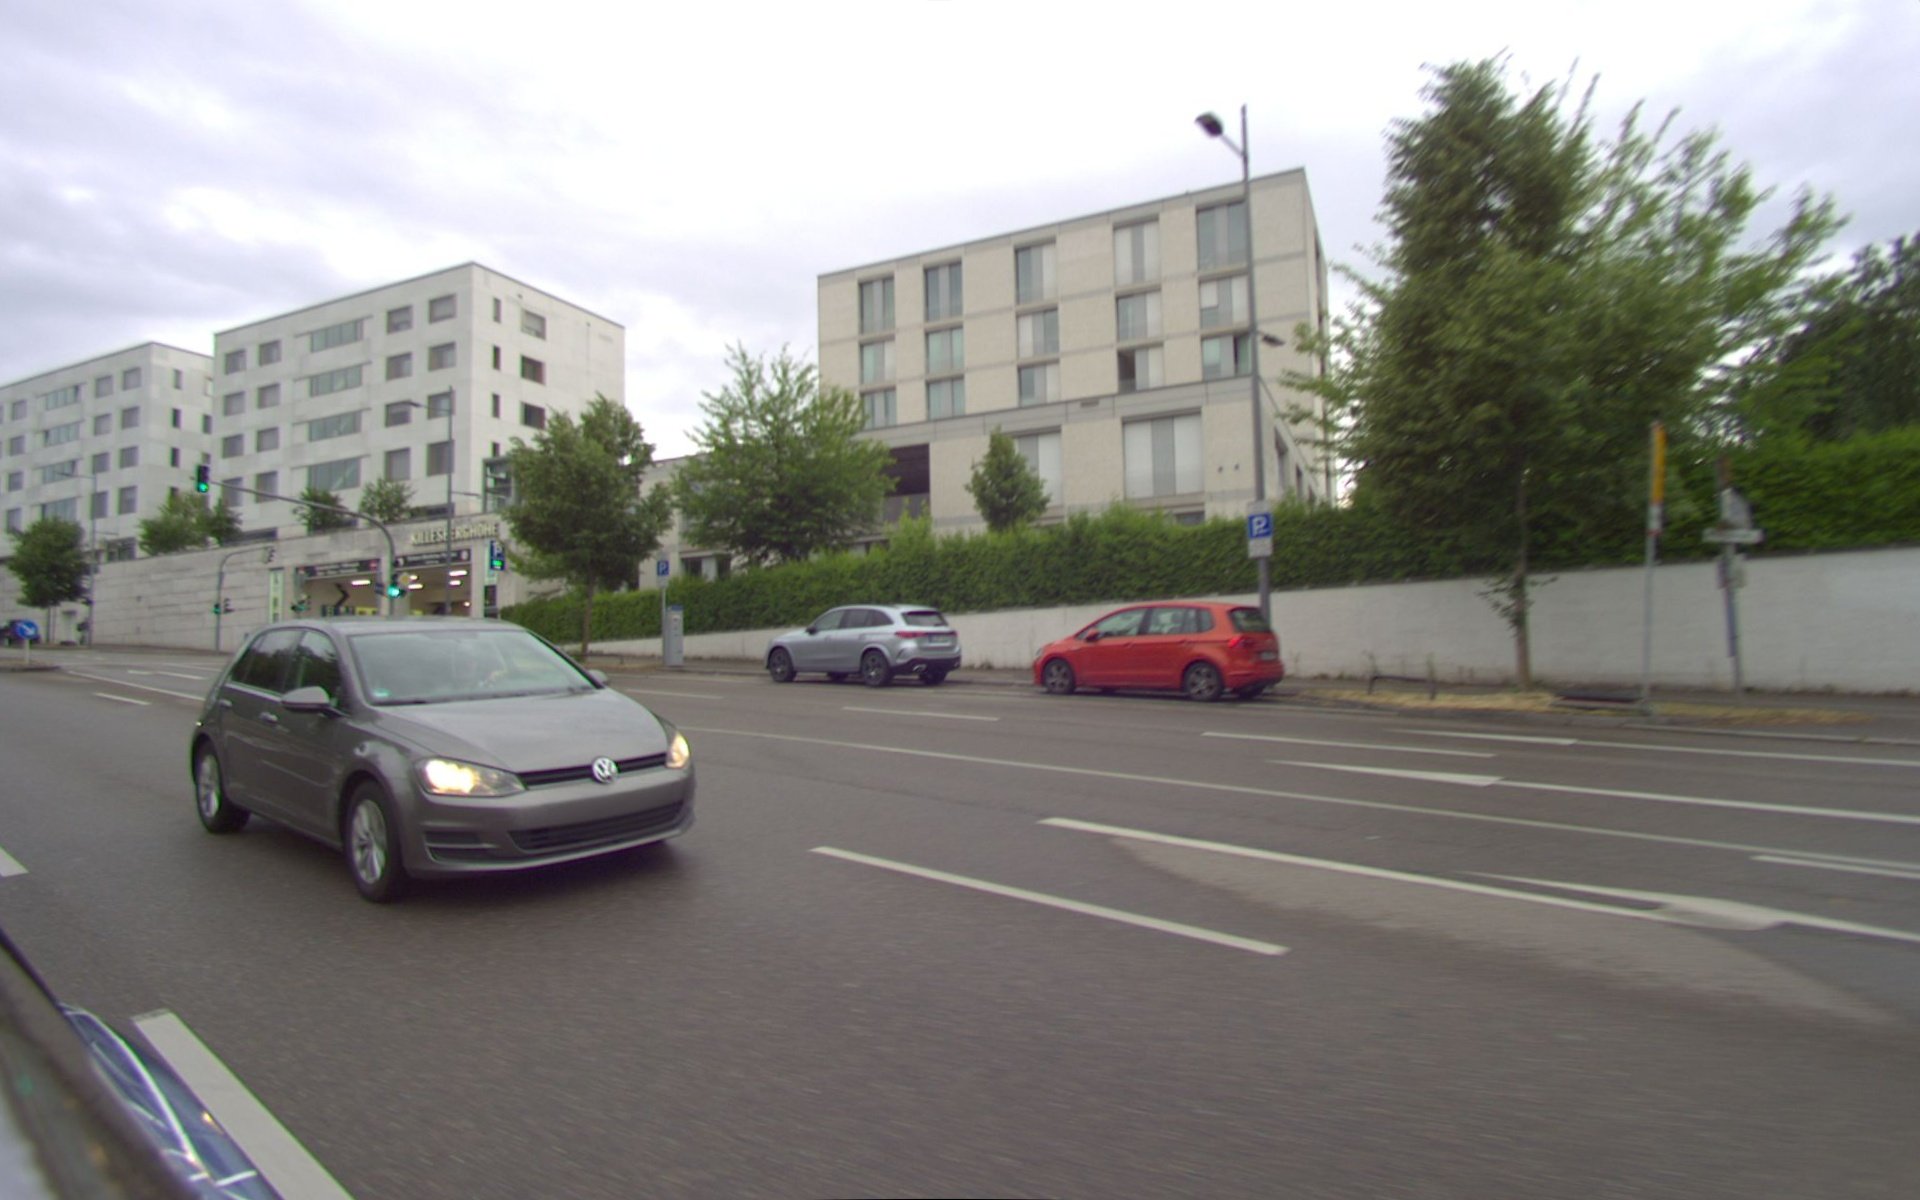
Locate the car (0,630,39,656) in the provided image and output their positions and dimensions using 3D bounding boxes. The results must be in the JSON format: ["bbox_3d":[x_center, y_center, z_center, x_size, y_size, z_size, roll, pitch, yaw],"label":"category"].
[{"bbox_3d":[-55.138,2.485,58.567,2.678,1.470,1.668,0,-3,23],"label":"car"}]

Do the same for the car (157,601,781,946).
[{"bbox_3d":[-3.266,0.790,6.360,4.291,1.452,1.853,-1,-3,39],"label":"car"}]

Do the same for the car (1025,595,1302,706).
[{"bbox_3d":[3.236,0.798,16.609,4.214,1.599,1.648,-1,-3,40],"label":"car"}]

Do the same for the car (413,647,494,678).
[{"bbox_3d":[-29.950,3.691,59.940,1.790,1.785,3.964,0,-3,26],"label":"car"}]

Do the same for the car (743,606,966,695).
[{"bbox_3d":[-2.306,0.991,21.163,4.880,1.666,1.746,-1,-1,40],"label":"car"}]

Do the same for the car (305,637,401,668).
[{"bbox_3d":[-34.606,3.007,57.827,1.987,1.664,4.313,0,-3,22],"label":"car"}]
